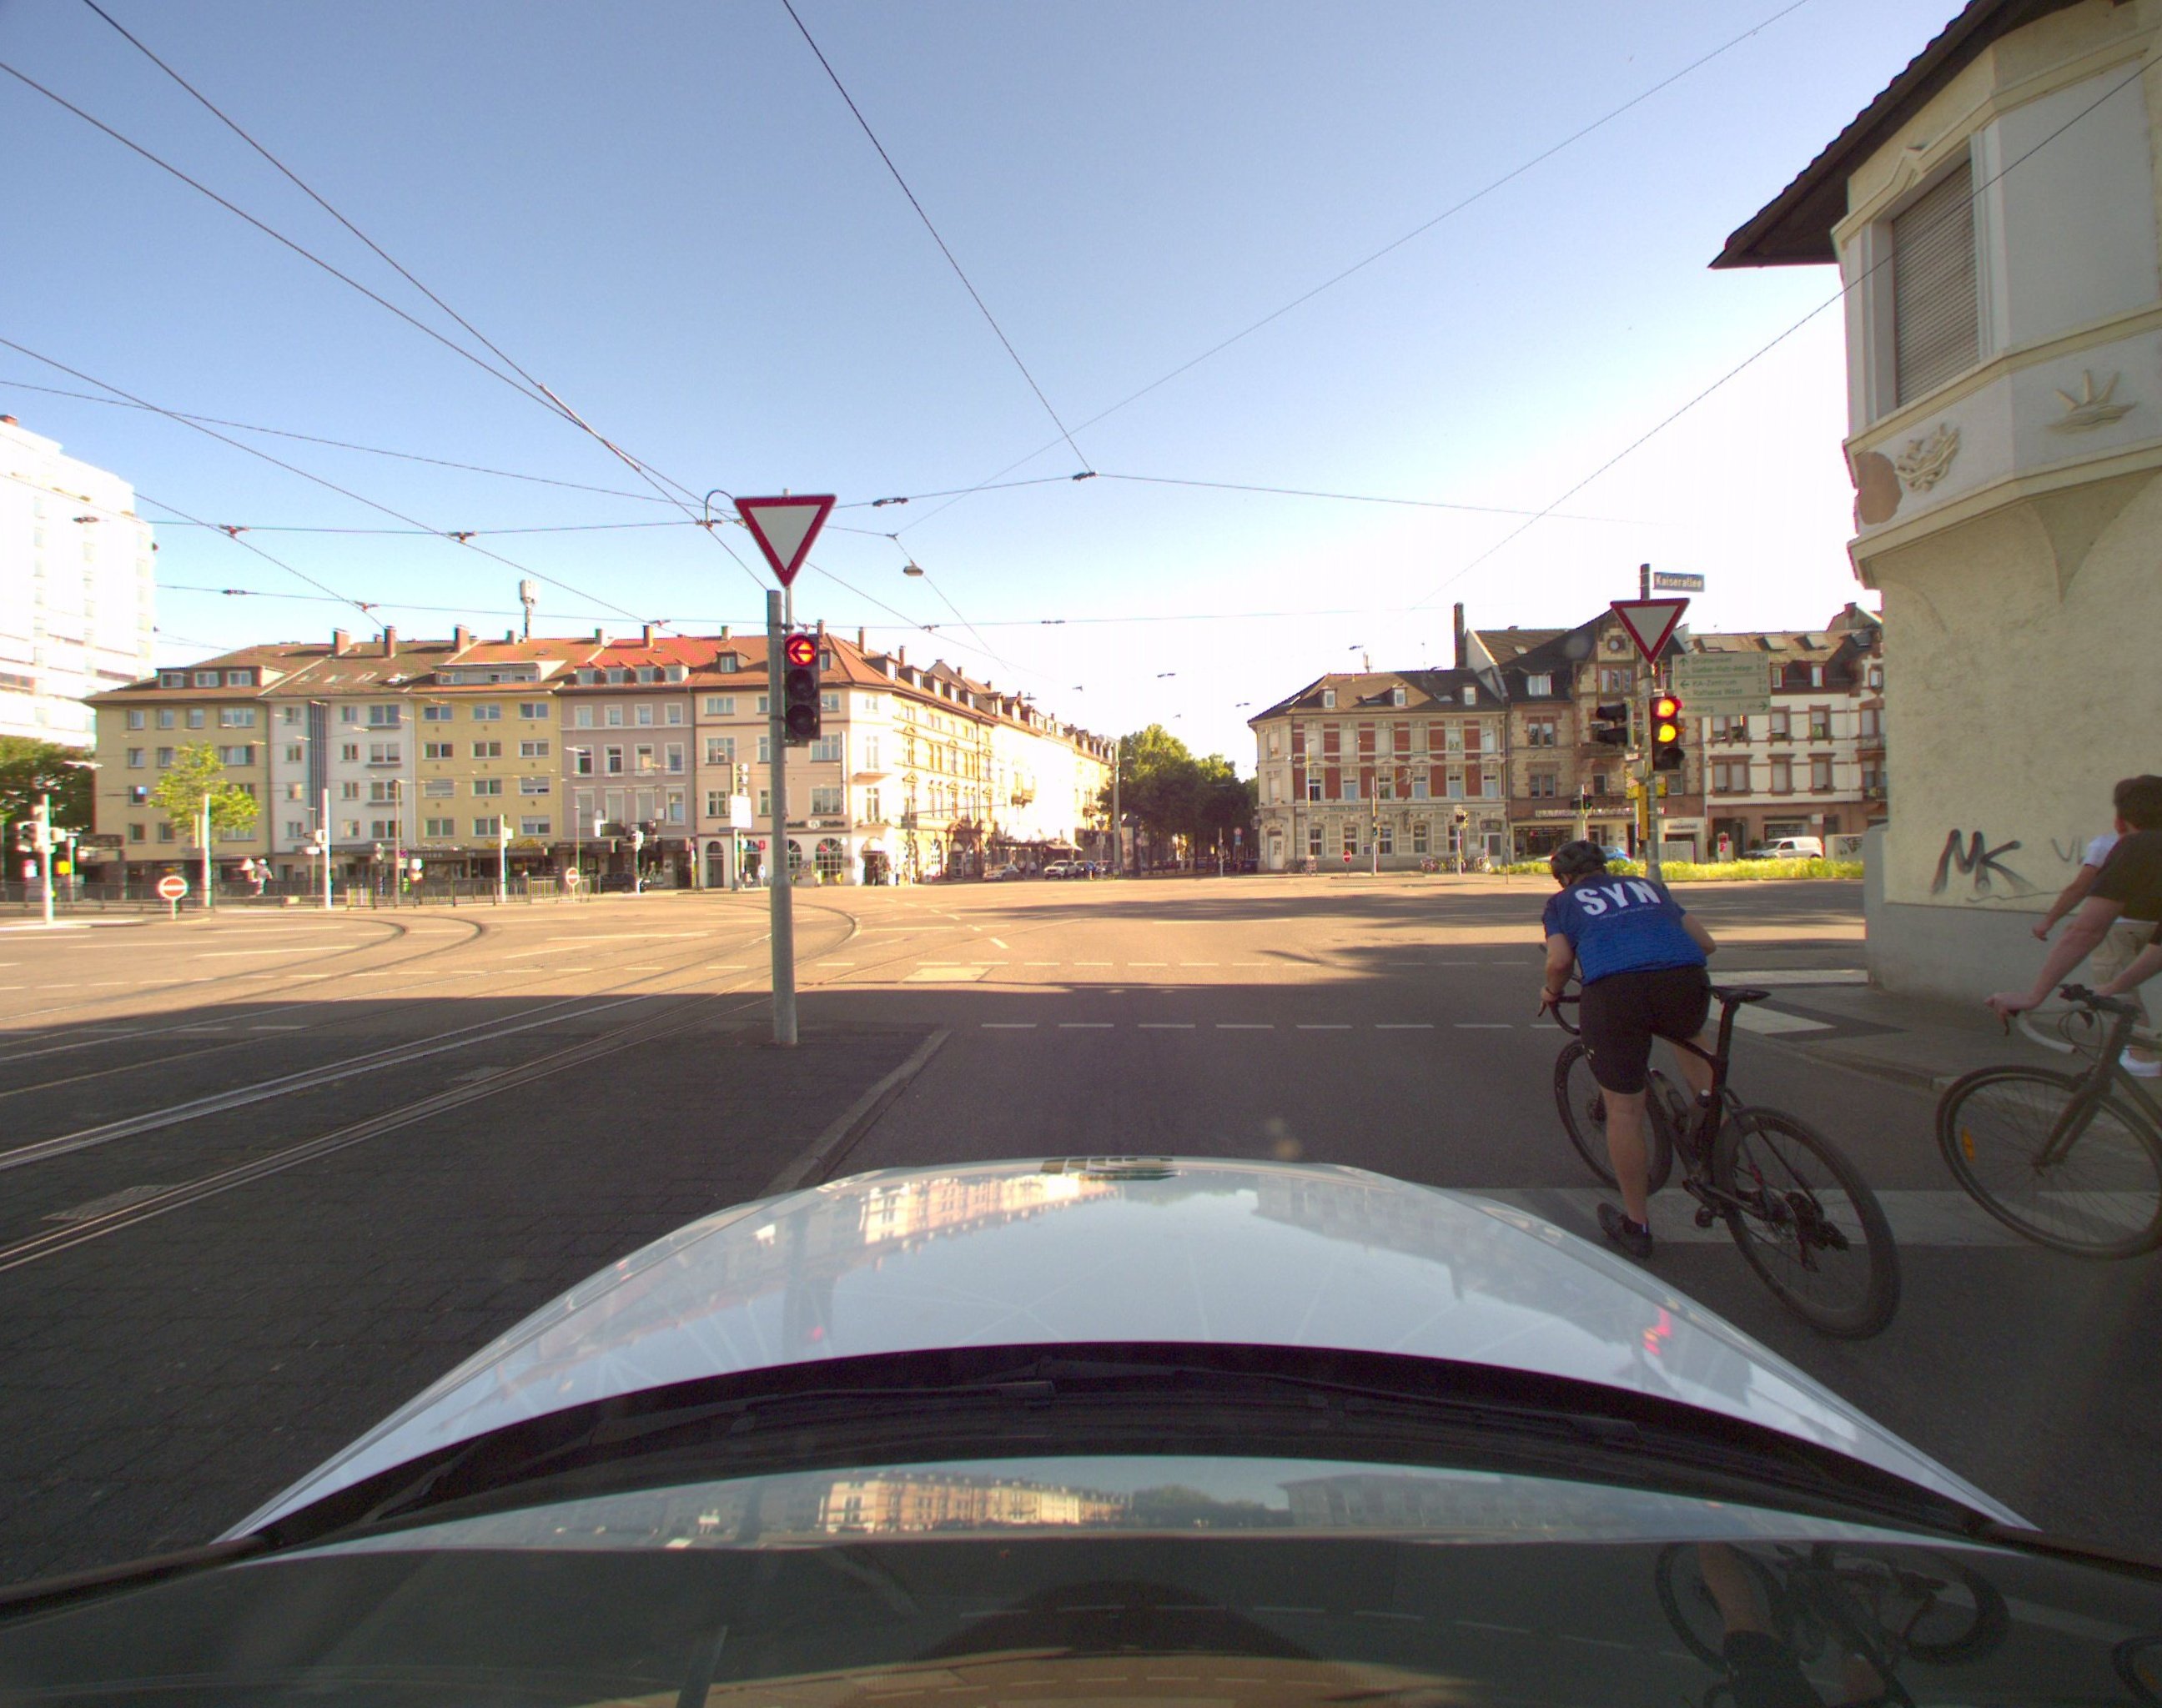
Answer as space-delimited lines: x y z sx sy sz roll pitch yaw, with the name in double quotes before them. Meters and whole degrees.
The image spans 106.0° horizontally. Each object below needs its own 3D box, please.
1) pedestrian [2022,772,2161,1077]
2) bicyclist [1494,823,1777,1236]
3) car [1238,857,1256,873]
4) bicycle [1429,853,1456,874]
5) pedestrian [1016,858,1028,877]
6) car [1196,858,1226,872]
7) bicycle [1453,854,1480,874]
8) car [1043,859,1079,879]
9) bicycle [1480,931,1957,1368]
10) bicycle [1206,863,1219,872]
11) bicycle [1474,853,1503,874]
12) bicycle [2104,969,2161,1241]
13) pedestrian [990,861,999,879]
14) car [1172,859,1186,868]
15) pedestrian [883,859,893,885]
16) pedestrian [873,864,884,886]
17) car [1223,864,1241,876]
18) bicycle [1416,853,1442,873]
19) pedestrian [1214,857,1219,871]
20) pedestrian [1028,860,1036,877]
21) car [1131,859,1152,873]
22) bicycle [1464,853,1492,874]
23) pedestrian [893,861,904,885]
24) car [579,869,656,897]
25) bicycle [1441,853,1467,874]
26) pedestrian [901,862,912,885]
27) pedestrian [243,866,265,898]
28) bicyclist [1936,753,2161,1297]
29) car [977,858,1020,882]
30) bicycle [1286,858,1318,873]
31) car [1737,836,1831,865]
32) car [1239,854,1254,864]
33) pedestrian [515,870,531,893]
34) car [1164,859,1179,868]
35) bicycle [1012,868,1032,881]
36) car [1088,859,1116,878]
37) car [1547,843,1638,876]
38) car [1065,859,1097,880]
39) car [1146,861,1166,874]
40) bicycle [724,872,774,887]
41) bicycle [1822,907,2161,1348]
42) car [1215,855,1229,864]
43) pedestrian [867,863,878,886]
"pedestrian" 6.357 0.403 4.980 0.589 1.756 0.635 -5 -1 -37
"bicyclist" 2.232 0.627 3.400 0.635 1.494 0.885 0 1 6
"car" 16.816 1.127 82.365 1.680 1.565 3.855 -1 -1 14
"bicycle" 23.259 0.616 52.425 0.689 1.287 2.663 0 -1 3
"pedestrian" -4.762 1.106 65.492 0.814 1.512 0.601 -1 -1 16
"car" 18.337 1.568 114.727 3.955 1.904 2.009 -1 -1 17
"bicycle" 24.772 0.627 52.390 0.626 1.287 2.663 0 -1 3
"car" -1.639 1.232 67.476 1.979 1.618 4.015 -1 -1 14
"bicycle" 2.233 0.919 3.180 0.623 1.085 1.705 0 -1 5
"bicycle" 15.992 1.654 98.867 0.630 1.085 1.687 0 -1 -28
"bicycle" 26.195 0.608 52.358 0.626 1.287 2.663 0 -1 3
"bicycle" 4.483 0.980 2.441 0.647 1.031 1.772 0 -1 3
"pedestrian" -7.764 1.430 72.821 0.539 1.631 0.709 -1 -1 15
"car" 16.436 1.540 135.922 1.546 1.513 3.673 -1 -1 19
"pedestrian" -13.759 1.265 57.983 0.631 1.881 0.465 0 -1 -2
"pedestrian" -14.033 1.455 56.535 0.631 1.477 0.465 0 -1 -2
"car" 17.073 1.818 92.060 1.741 1.362 3.869 -1 -1 13
"bicycle" 22.434 0.565 52.540 0.689 1.287 2.663 0 -1 3
"pedestrian" 17.216 1.283 103.580 0.635 1.796 0.492 -1 -1 14
"pedestrian" -4.910 1.465 81.255 0.539 1.631 0.709 -1 -1 15
"car" 8.396 1.626 112.696 1.977 1.904 4.019 -1 -1 19
"bicycle" 25.500 0.609 52.386 0.626 1.287 2.663 0 -1 3
"pedestrian" -12.639 1.330 56.369 0.631 1.634 0.700 0 -1 -2
"car" -30.591 1.918 53.819 3.962 1.670 2.006 -2 0 10
"bicycle" 23.982 0.610 52.418 0.626 1.287 2.663 0 -1 3
"pedestrian" -12.386 1.381 57.707 0.631 1.634 0.700 0 -1 -2
"pedestrian" -42.520 1.428 41.889 0.523 1.628 0.577 0 -1 0
"bicyclist" 3.590 0.504 2.586 0.803 1.606 0.883 0 -1 0
"car" -6.776 1.312 67.409 1.977 1.904 4.019 -1 -1 19
"bicycle" 15.413 0.816 56.869 2.040 0.998 0.631 -1 -1 4
"car" 45.309 -0.230 52.572 4.349 1.778 2.000 0 -1 1
"car" 24.388 0.761 119.829 1.757 1.530 4.019 -1 -1 19
"pedestrian" -39.219 1.924 57.197 0.631 1.634 0.700 0 -1 -2
"car" 14.702 1.534 131.904 1.546 1.513 3.673 -1 -1 19
"bicycle" -4.734 1.636 65.560 0.756 1.008 2.406 -1 -1 16
"car" 2.077 1.406 79.977 1.979 1.904 4.015 -1 -1 14
"car" 28.291 0.311 45.141 3.769 1.778 2.000 0 -1 1
"car" 0.020 1.371 73.803 1.979 1.904 4.015 -1 -1 14
"car" 11.303 1.961 122.471 1.977 1.904 4.019 -1 -1 19
"bicycle" -23.427 1.790 57.468 3.118 0.980 1.002 0 -1 1
"bicycle" 3.567 0.841 2.652 0.752 1.236 1.702 0 -1 0
"car" 23.282 0.924 134.342 1.546 1.513 3.673 -1 -1 19
"pedestrian" -14.595 1.409 56.994 0.631 1.612 0.465 0 -1 -2
